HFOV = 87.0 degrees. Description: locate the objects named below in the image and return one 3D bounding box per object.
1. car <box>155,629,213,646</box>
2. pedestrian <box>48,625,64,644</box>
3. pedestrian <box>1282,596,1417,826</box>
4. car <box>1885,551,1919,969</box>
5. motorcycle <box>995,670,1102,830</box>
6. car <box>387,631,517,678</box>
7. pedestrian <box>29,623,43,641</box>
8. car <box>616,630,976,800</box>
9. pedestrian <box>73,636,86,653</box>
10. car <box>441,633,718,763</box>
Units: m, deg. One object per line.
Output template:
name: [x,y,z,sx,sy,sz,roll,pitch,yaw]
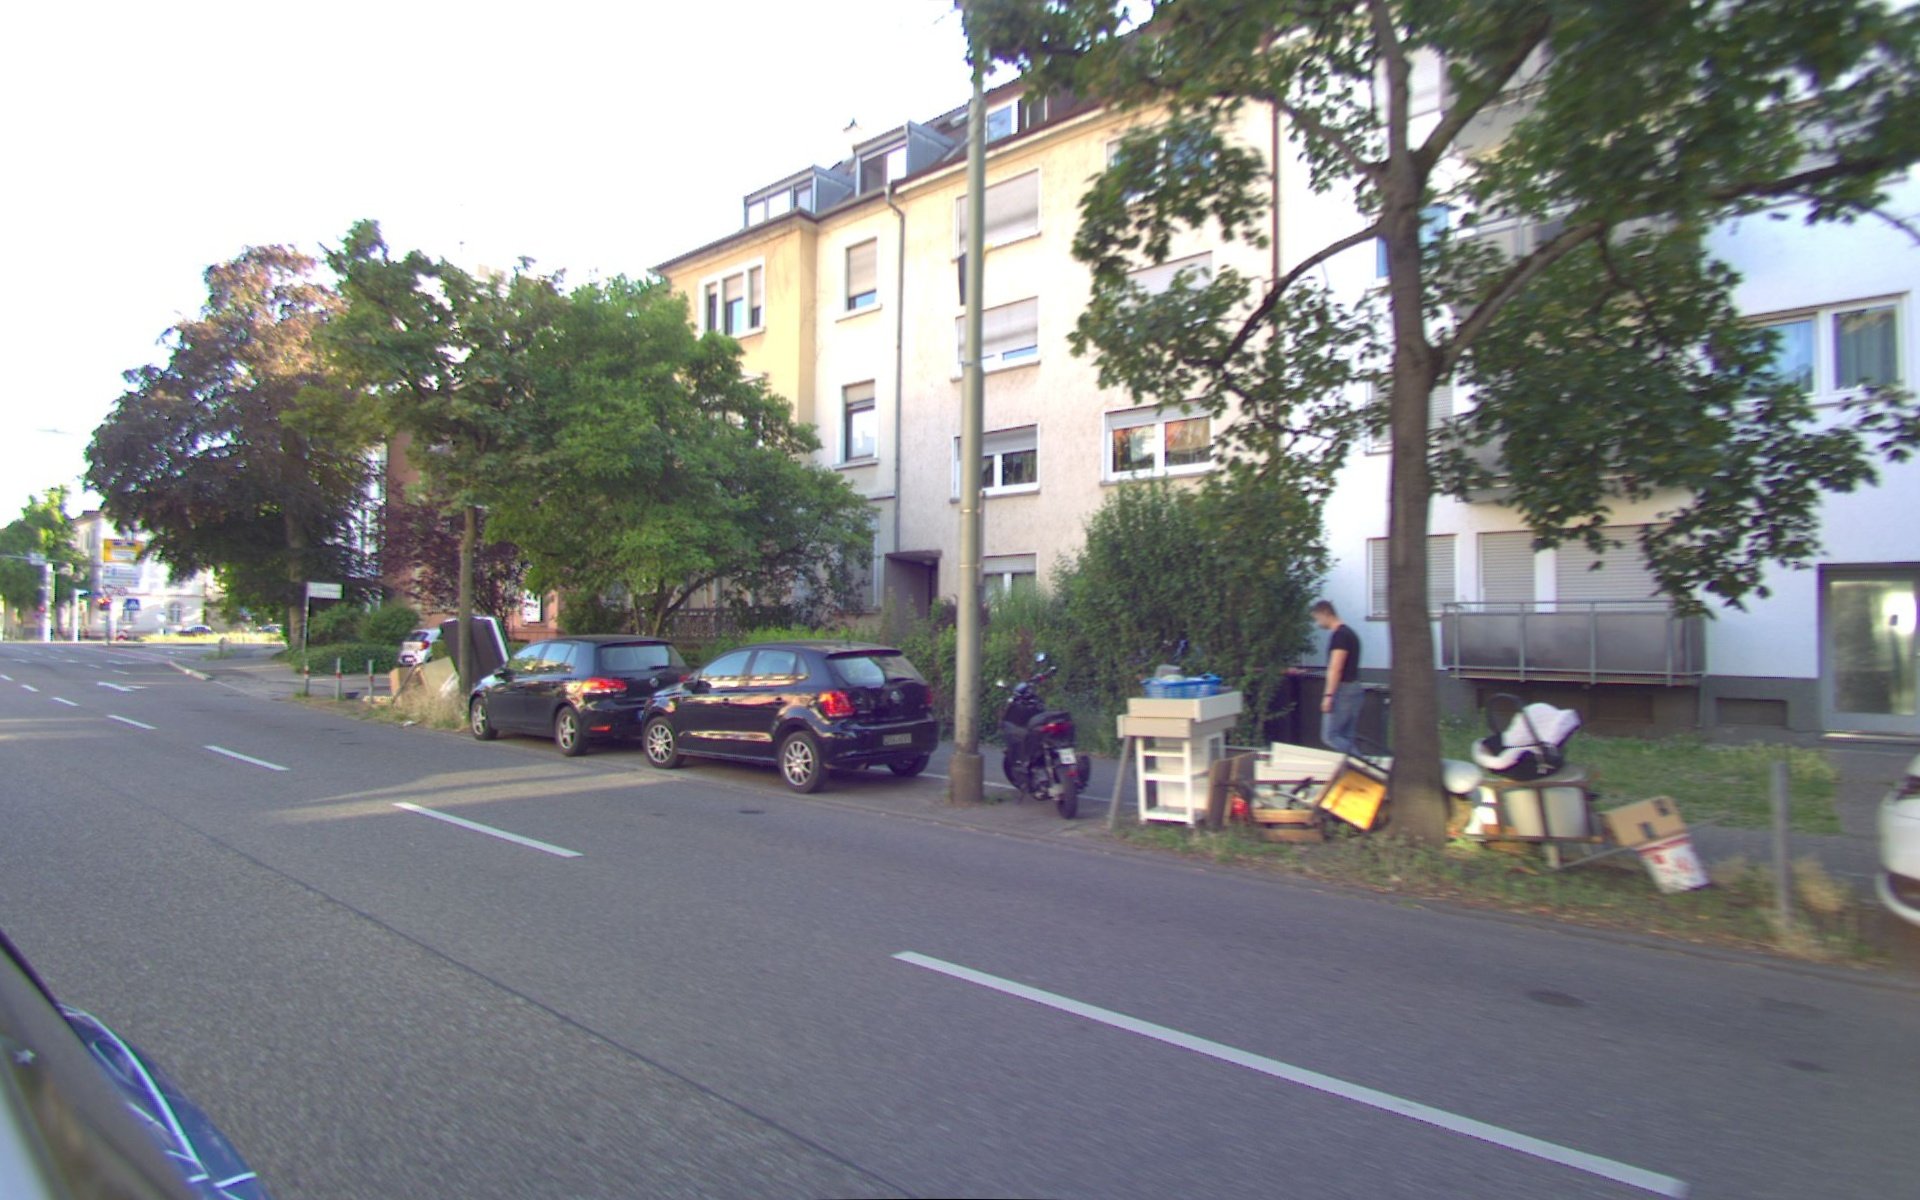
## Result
car: [-67.499,3.270,88.074,1.996,1.457,3.602,-2,-3,36]
pedestrian: [-88.139,3.389,98.696,1.166,1.863,0.812,-1,-3,32]
pedestrian: [3.675,1.006,9.568,0.975,2.029,0.759,-2,-3,40]
car: [6.572,0.717,3.794,4.457,1.934,1.751,-2,-3,41]
motorcycle: [0.731,1.239,8.844,0.434,1.201,1.711,1,-2,-12]
car: [-17.086,1.801,34.145,1.812,1.497,3.465,-2,-3,36]
pedestrian: [-88.823,3.068,97.308,1.081,1.721,0.671,-1,-3,32]
car: [-1.895,1.108,11.020,3.976,1.514,1.732,-2,-3,41]
pedestrian: [-83.315,4.197,95.758,0.887,1.663,0.614,-1,-3,32]
car: [-5.284,1.218,13.813,4.194,1.514,1.732,-2,-3,41]
